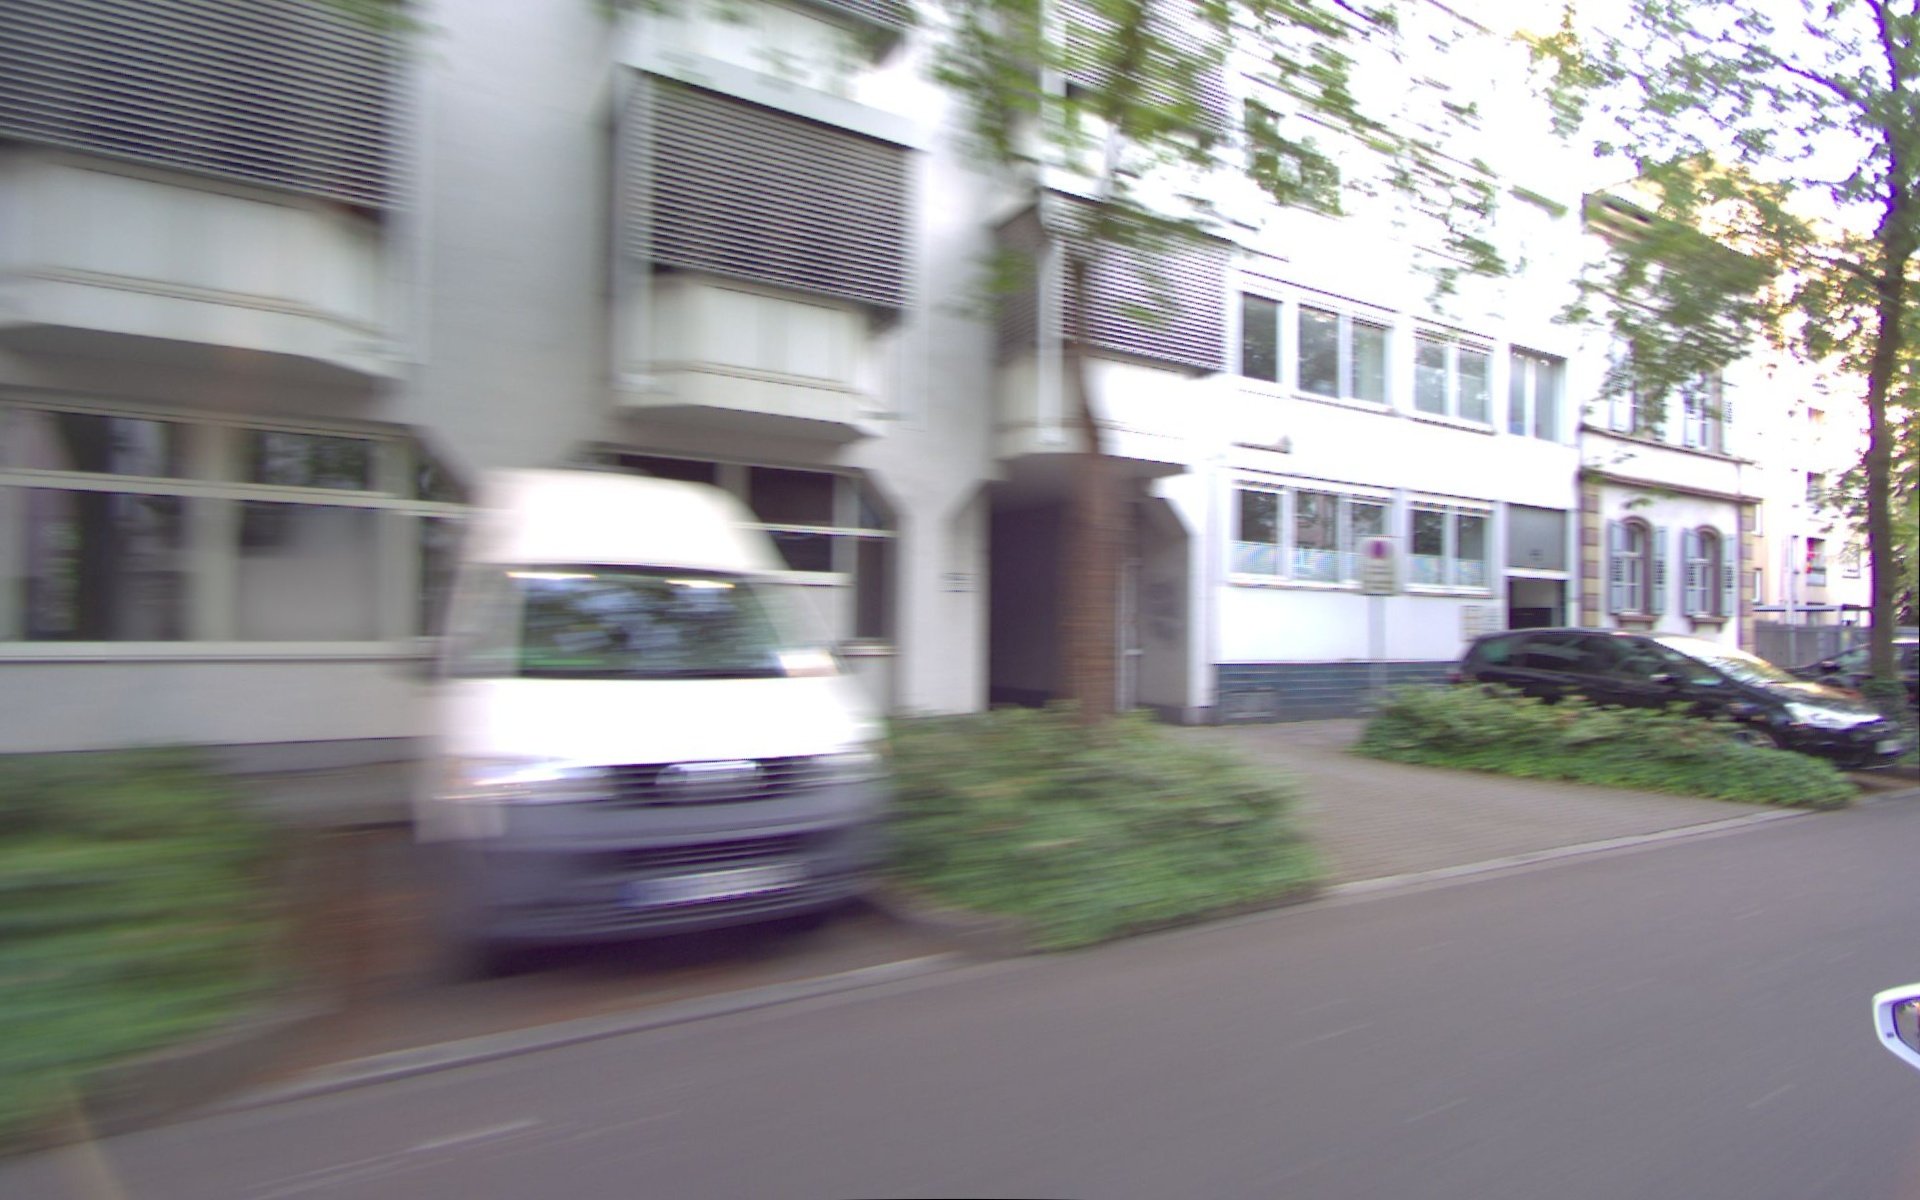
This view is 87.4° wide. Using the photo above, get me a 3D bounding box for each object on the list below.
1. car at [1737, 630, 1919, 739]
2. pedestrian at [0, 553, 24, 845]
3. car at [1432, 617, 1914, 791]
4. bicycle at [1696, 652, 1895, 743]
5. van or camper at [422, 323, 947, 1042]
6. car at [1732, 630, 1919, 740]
[{"bbox_3d":[15.066,1.314,15.946,1.808,1.609,3.966,1,-1,-32],"label":"car"},{"bbox_3d":[-7.005,0.684,6.694,0.828,2.040,0.937,1,-1,-26],"label":"pedestrian"},{"bbox_3d":[8.305,1.092,12.190,1.604,1.705,4.509,1,-2,-33],"label":"car"},{"bbox_3d":[10.527,1.194,12.738,0.474,1.038,1.892,1,-2,-31],"label":"bicycle"},{"bbox_3d":[-2.064,0.357,6.020,1.922,2.459,4.796,1,-2,-29],"label":"van or camper"},{"bbox_3d":[15.046,1.329,16.031,1.768,1.613,3.968,1,-1,-30],"label":"car"}]
